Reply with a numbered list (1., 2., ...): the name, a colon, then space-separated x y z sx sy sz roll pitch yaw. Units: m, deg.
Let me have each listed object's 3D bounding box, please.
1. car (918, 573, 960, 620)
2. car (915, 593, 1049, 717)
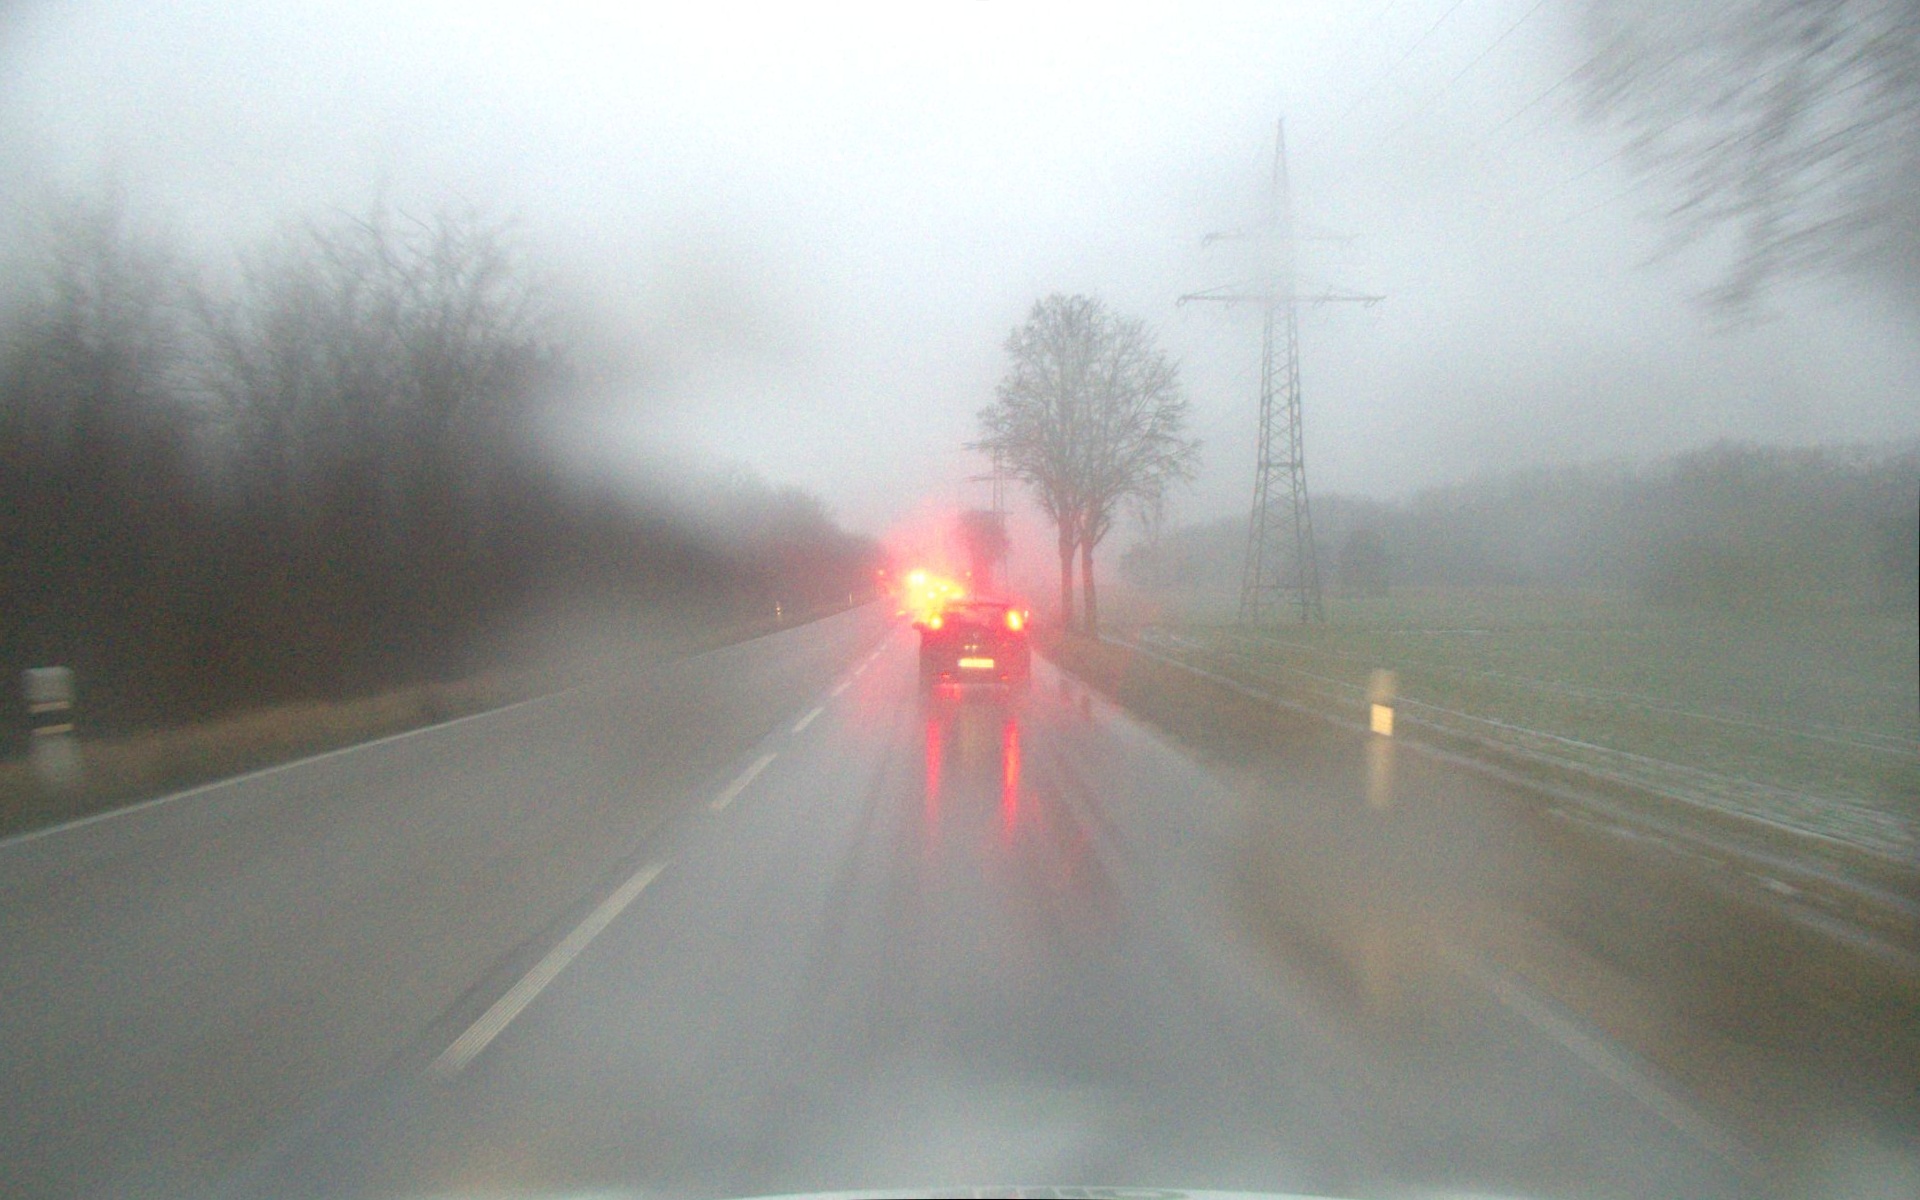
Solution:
1. car: -1.051 -0.193 83.591 1.953 2.048 4.001 3 3 -1
2. car: 0.299 0.795 26.100 1.953 1.782 4.000 0 1 -1
